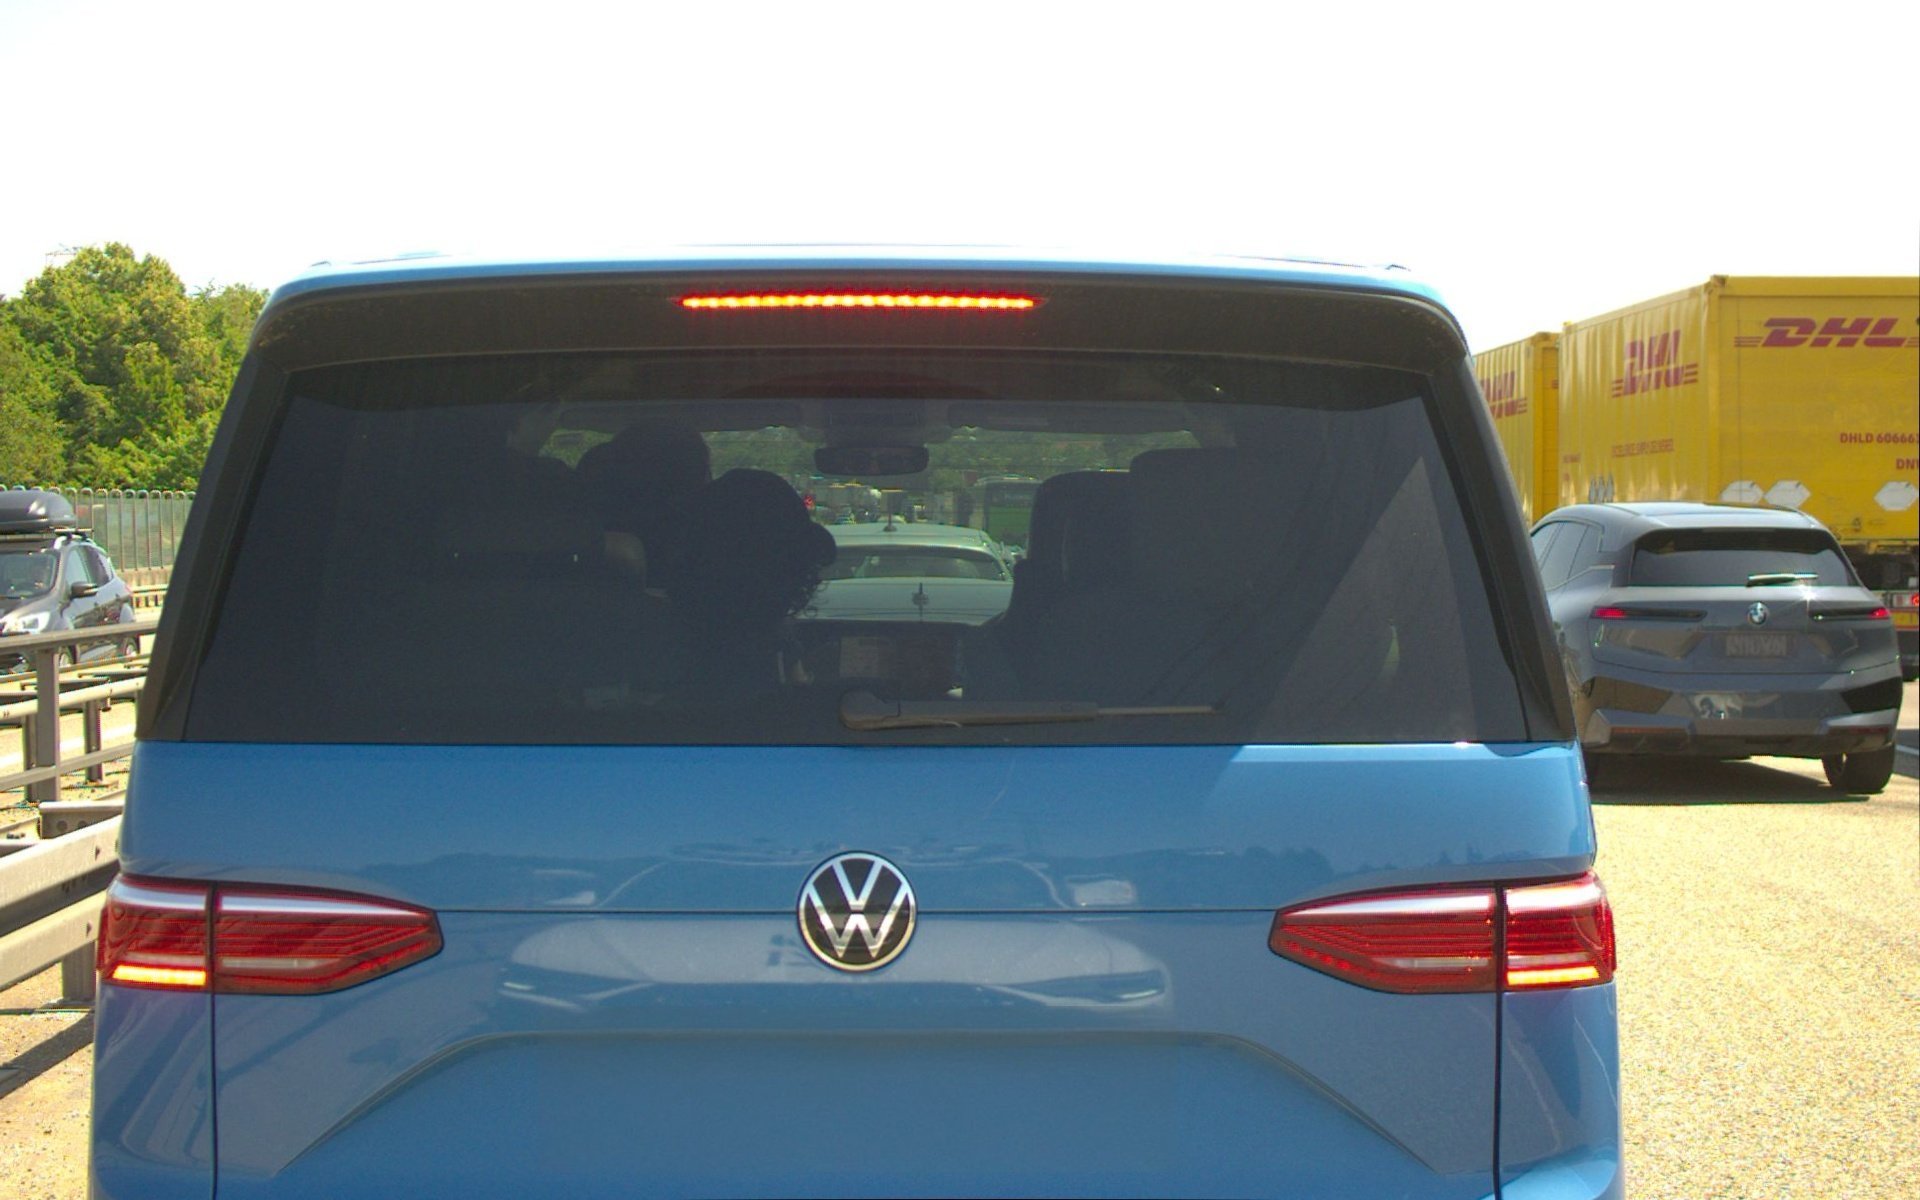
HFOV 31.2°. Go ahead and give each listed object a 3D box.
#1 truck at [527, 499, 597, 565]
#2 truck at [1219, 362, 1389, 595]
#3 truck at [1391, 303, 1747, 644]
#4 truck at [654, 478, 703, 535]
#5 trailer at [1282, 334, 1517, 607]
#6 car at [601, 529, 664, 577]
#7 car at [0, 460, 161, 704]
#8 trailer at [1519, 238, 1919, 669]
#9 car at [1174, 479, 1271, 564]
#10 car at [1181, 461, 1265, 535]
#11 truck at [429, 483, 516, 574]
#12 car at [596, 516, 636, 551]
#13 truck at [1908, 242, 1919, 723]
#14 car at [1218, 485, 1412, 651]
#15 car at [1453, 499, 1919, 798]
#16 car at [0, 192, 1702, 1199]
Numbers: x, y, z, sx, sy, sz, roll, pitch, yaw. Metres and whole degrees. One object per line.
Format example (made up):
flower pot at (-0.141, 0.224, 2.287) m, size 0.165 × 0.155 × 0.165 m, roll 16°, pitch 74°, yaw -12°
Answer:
truck at (-20.042, -3.414, 173.642) m, size 2.518 × 3.100 × 8.724 m, roll -4°, pitch 1°, yaw -1°
truck at (6.903, -2.396, 69.838) m, size 2.667 × 4.469 × 6.850 m, roll 1°, pitch 1°, yaw 0°
truck at (8.296, -1.678, 48.455) m, size 2.836 × 4.228 × 11.011 m, roll 1°, pitch 1°, yaw -1°
truck at (-17.660, -5.841, 215.753) m, size 2.561 × 3.348 × 8.865 m, roll -2°, pitch 1°, yaw -2°
trailer at (7.822, -2.270, 62.706) m, size 2.637 × 4.501 × 11.302 m, roll 1°, pitch 1°, yaw -1°
car at (-10.380, -1.508, 109.230) m, size 1.619 × 1.459 × 3.702 m, roll -2°, pitch 1°, yaw 0°
car at (-9.013, -0.172, 32.385) m, size 1.863 × 2.123 × 4.268 m, roll -3°, pitch 1°, yaw 0°
trailer at (8.489, -1.506, 38.426) m, size 2.864 × 4.224 × 9.012 m, roll 1°, pitch 1°, yaw -1°
car at (6.354, -1.894, 83.475) m, size 1.993 × 2.007 × 4.000 m, roll 1°, pitch 1°, yaw 0°
car at (7.440, -2.871, 97.538) m, size 1.993 × 2.007 × 4.461 m, roll -1°, pitch 1°, yaw 0°
truck at (-18.953, -2.786, 134.007) m, size 2.497 × 3.354 × 5.834 m, roll -3°, pitch 1°, yaw -1°
car at (-22.008, -4.270, 219.964) m, size 2.082 × 2.142 × 4.312 m, roll -2°, pitch 2°, yaw 0°
truck at (8.682, -0.775, 20.804) m, size 2.656 × 3.635 × 11.012 m, roll 0°, pitch 1°, yaw -1°
car at (4.436, -0.433, 43.575) m, size 1.962 × 1.986 × 4.293 m, roll 0°, pitch 1°, yaw -1°
car at (4.338, 0.220, 21.079) m, size 1.962 × 1.639 × 4.293 m, roll 0°, pitch 1°, yaw -1°
car at (-0.162, 0.473, 5.638) m, size 1.820 × 1.851 × 4.075 m, roll 1°, pitch 1°, yaw -1°
